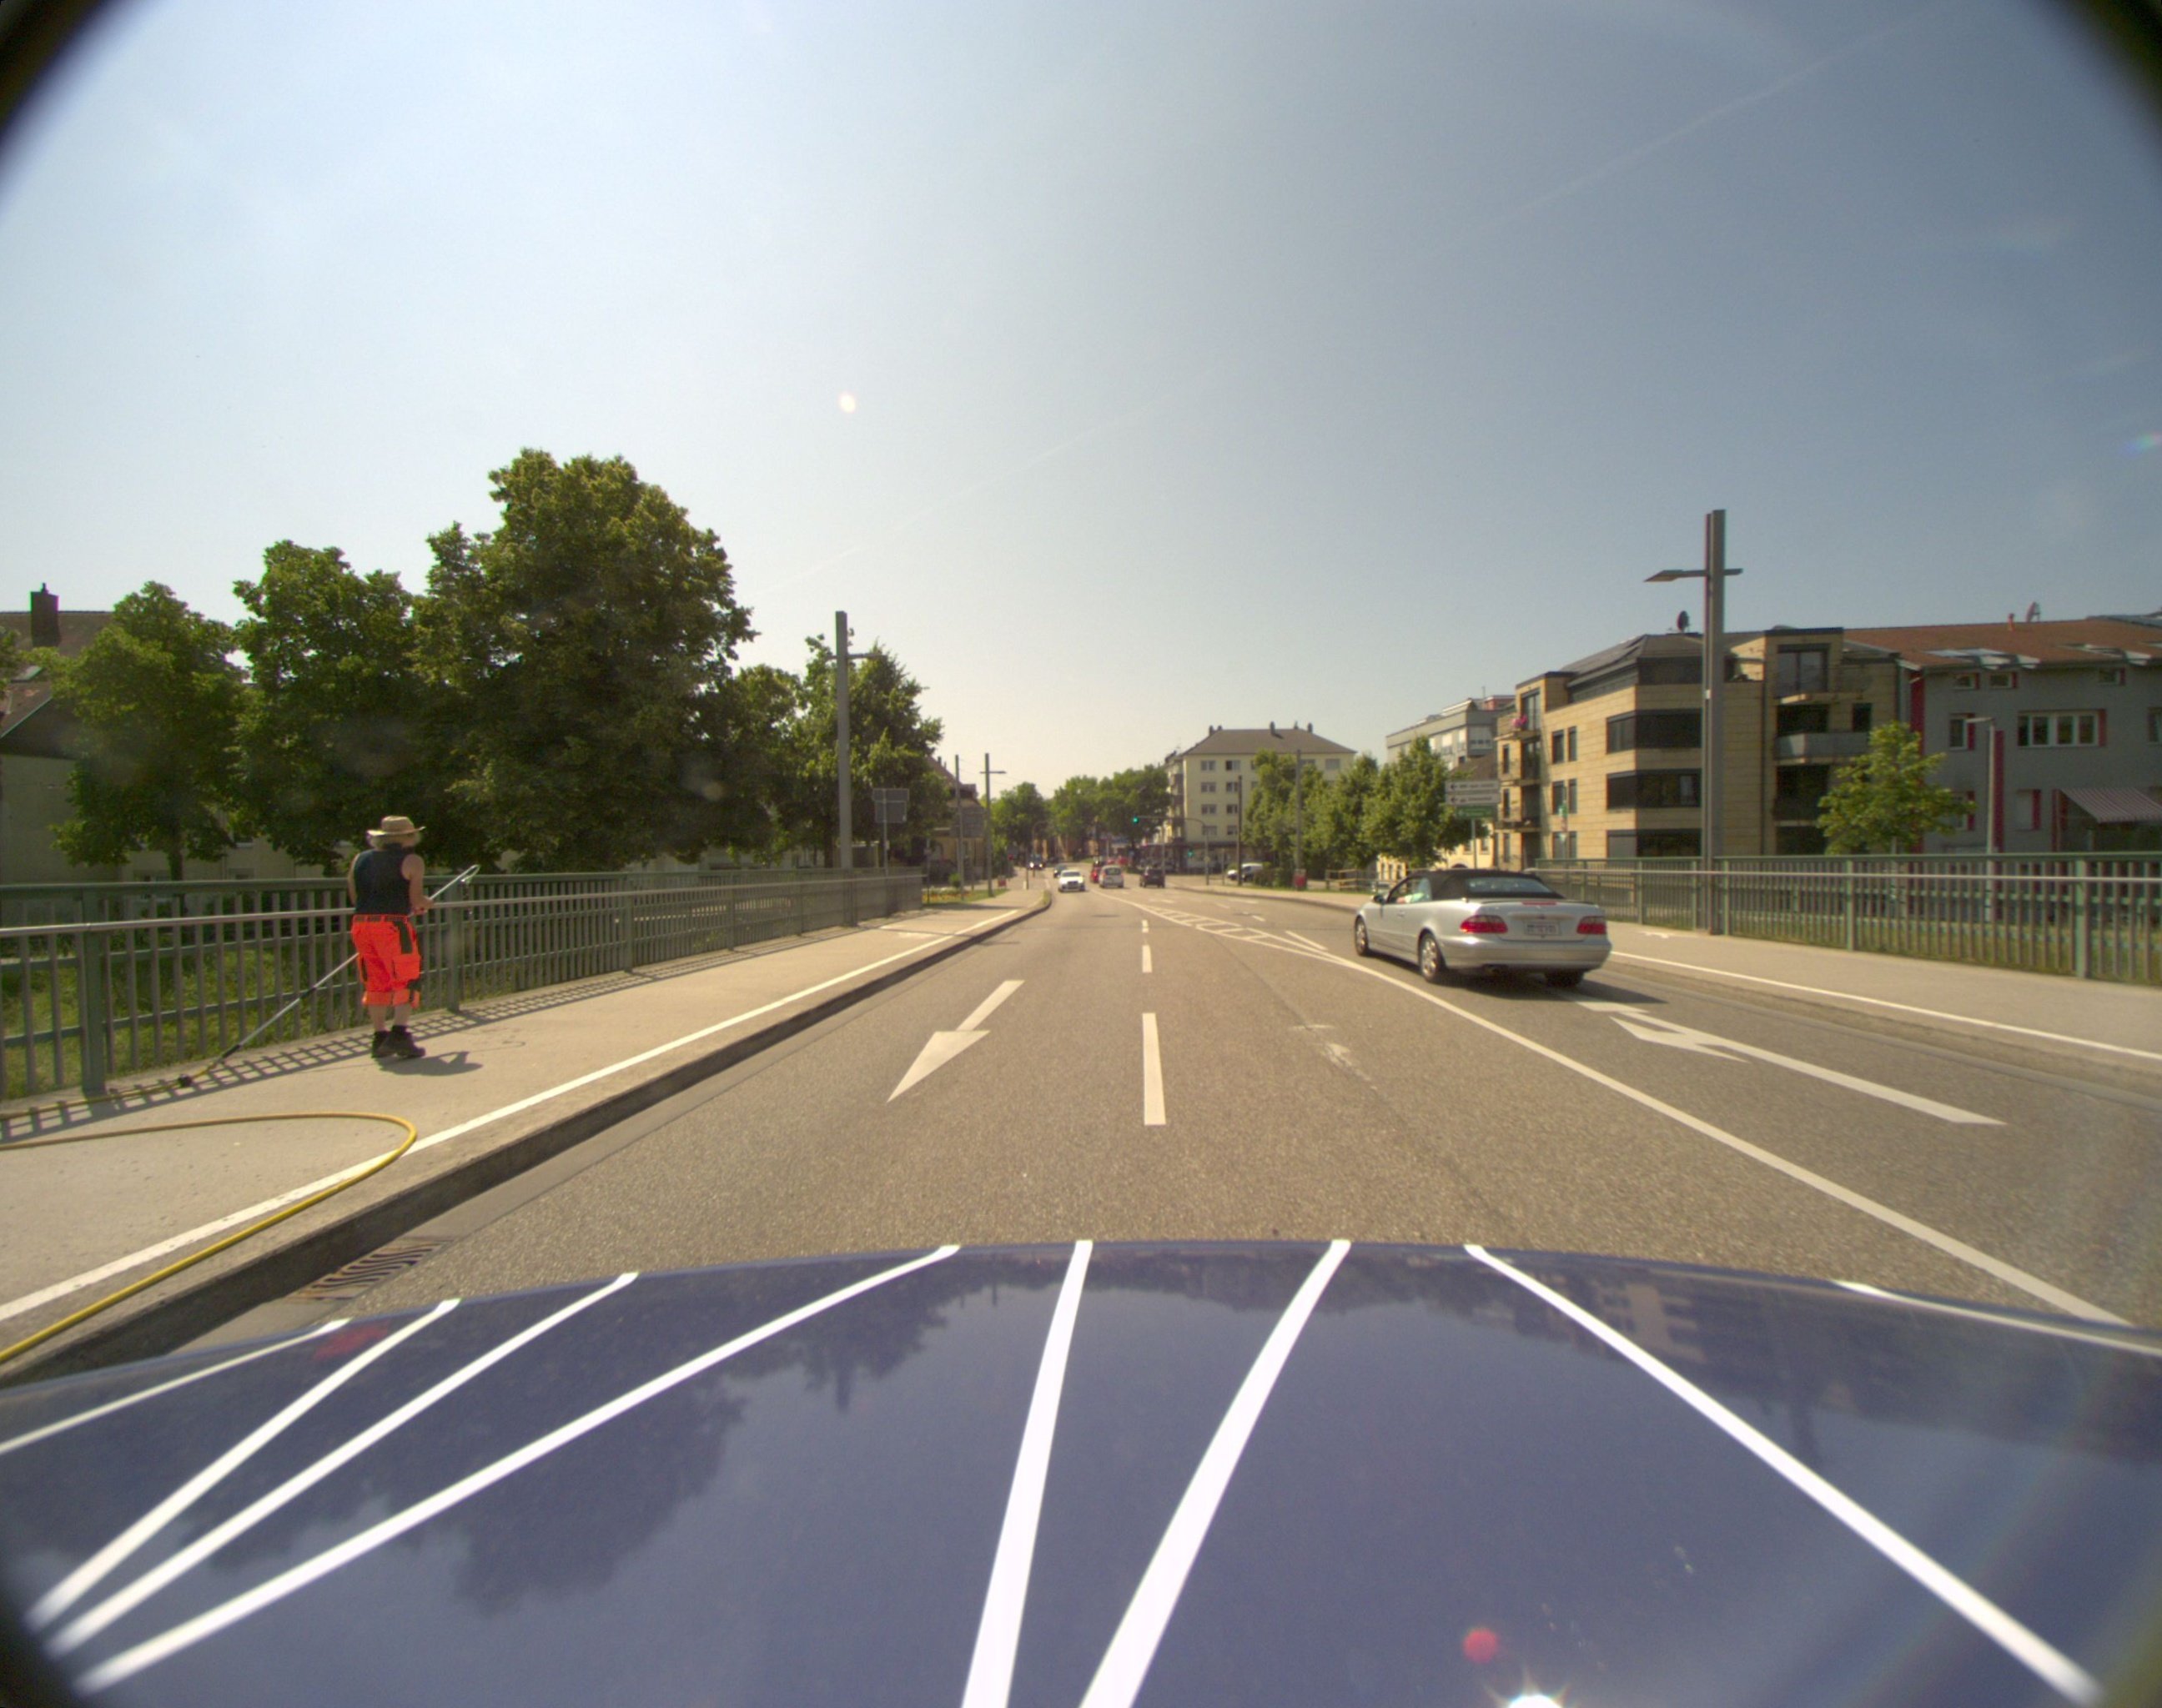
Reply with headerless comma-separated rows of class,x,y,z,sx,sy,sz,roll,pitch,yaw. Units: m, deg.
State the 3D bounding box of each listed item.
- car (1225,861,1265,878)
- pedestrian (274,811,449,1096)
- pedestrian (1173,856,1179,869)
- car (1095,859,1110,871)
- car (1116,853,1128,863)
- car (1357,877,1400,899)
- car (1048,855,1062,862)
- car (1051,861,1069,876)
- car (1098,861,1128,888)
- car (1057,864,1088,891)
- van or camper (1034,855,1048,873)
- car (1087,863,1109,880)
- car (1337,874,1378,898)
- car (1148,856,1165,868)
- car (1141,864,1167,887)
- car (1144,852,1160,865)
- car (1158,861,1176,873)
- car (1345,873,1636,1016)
car,17.470,1.662,80.873,3.696,1.725,1.892,1,1,-5
pedestrian,-5.194,0.680,5.531,0.548,1.949,0.672,-1,2,-1
pedestrian,13.053,1.158,104.428,0.629,1.750,0.742,-1,1,-4
car,3.035,1.564,107.153,1.719,1.477,4.029,-3,2,-2
car,6.908,0.645,127.307,1.639,1.460,3.632,-1,1,-3
car,22.602,2.580,57.923,1.780,1.423,4.431,-2,0,4
car,-5.502,0.917,160.419,1.844,1.391,4.044,-1,-1,-18
car,-2.437,1.683,88.857,1.777,1.480,3.996,-3,2,-5
car,2.585,1.641,62.205,1.842,1.850,4.659,-3,3,-4
car,-0.684,1.750,57.804,1.999,1.740,4.442,-3,1,-5
van or camper,-6.482,1.599,121.959,2.165,2.567,5.842,-2,2,-4
car,1.606,1.661,72.514,1.652,1.456,3.858,1,1,-5
car,22.963,2.589,63.261,1.819,1.619,5.286,1,1,4
car,10.867,1.129,109.672,1.626,1.560,4.837,-1,1,-3
car,6.026,1.752,62.764,1.741,1.631,3.920,2,1,0
car,10.771,0.693,115.552,1.643,1.828,3.858,-2,1,-4
car,11.499,1.724,101.760,1.587,1.450,3.937,-1,1,-4
car,4.961,0.982,10.019,1.702,1.350,4.458,0,0,4
